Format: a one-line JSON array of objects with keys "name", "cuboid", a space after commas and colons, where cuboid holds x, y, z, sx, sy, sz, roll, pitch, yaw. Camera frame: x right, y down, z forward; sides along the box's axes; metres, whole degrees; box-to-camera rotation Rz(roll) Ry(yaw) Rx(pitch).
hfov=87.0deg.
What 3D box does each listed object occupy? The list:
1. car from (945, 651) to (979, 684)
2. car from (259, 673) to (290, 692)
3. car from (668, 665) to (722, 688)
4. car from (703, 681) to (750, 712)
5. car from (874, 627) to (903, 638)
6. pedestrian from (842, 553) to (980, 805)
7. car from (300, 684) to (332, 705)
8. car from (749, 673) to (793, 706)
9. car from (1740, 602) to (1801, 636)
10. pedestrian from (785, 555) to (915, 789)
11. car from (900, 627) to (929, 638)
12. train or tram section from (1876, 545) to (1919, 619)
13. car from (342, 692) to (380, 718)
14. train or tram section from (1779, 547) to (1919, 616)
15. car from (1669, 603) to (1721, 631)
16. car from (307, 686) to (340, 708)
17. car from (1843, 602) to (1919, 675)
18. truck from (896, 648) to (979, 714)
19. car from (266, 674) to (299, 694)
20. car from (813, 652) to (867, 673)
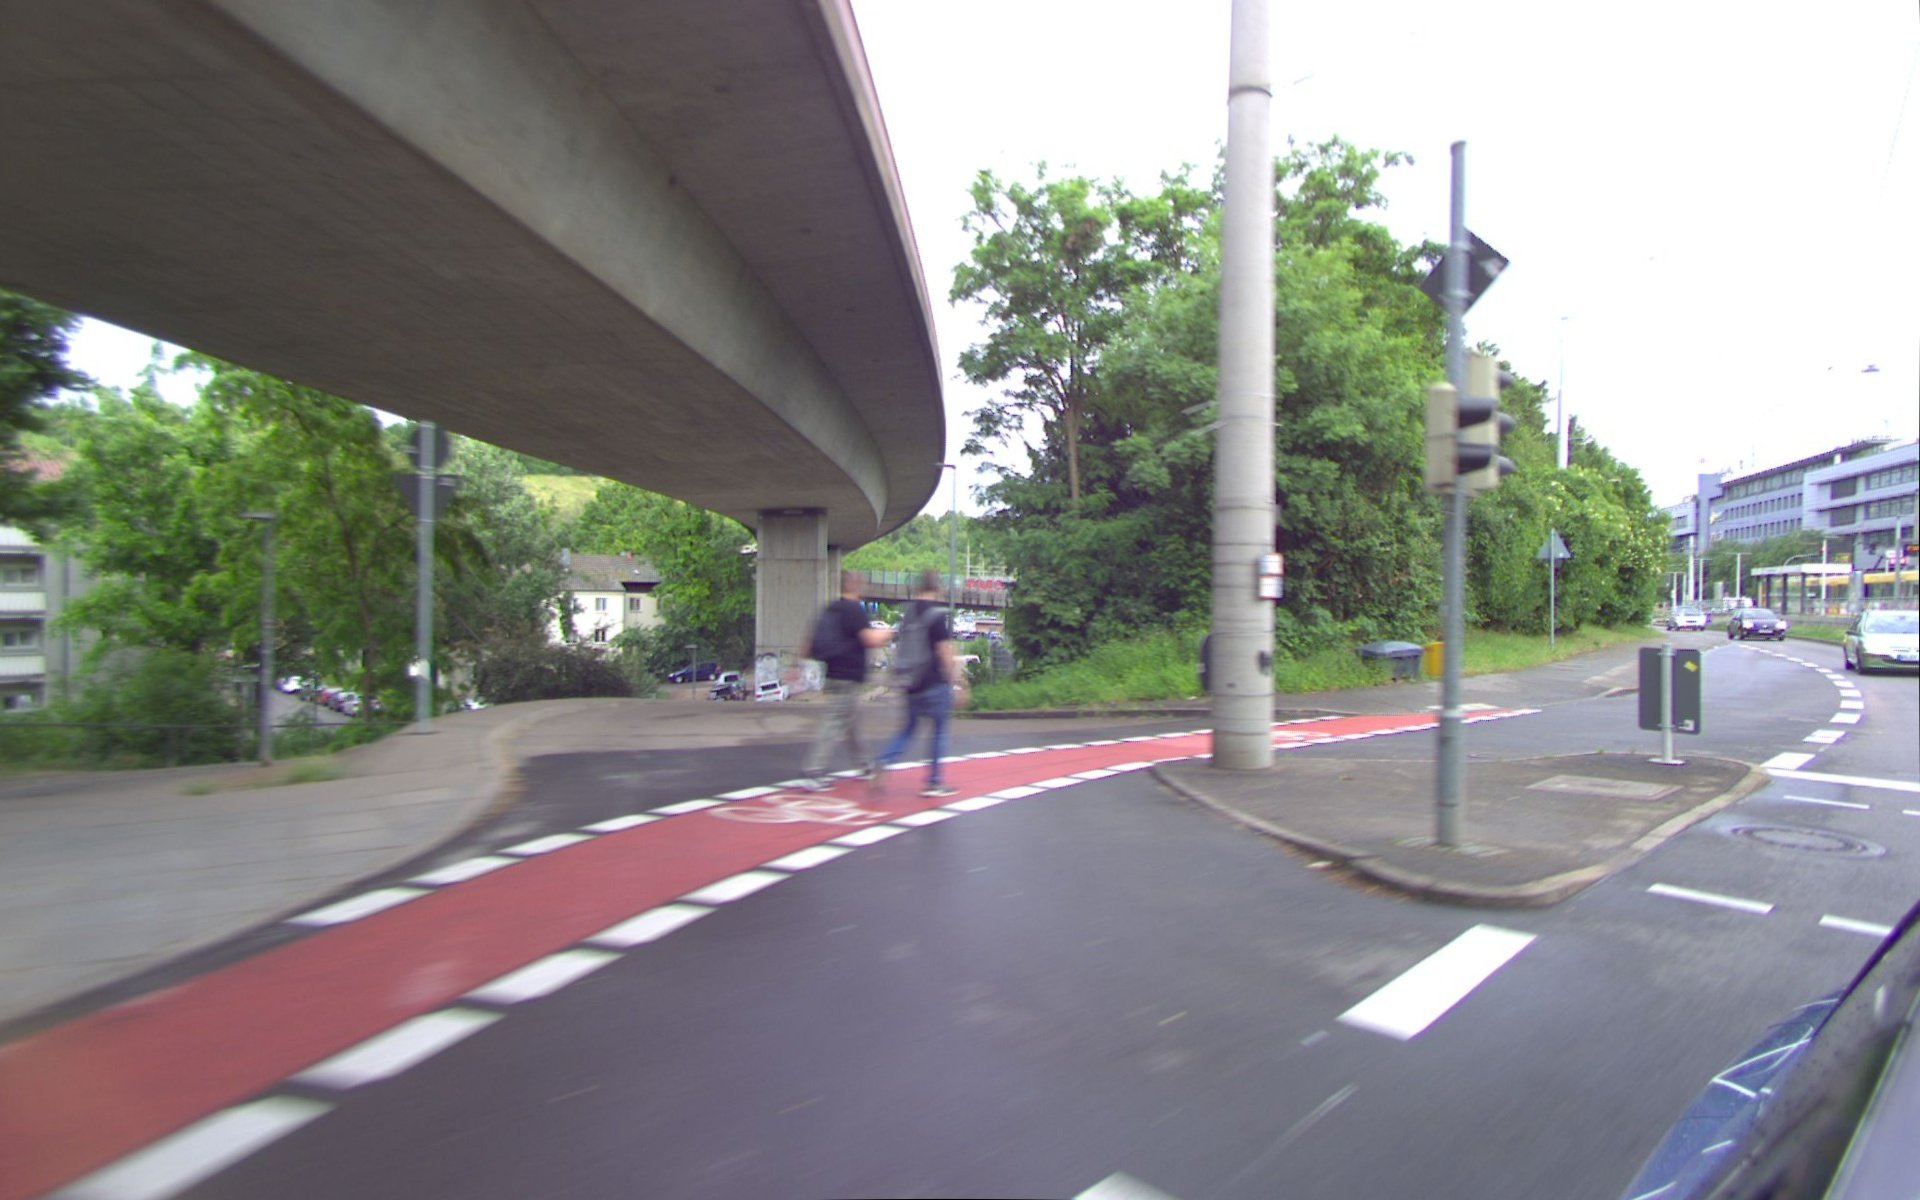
[{"name": "car", "cuboid": [0.079, 4.473, 67.330, 1.918, 1.880, 3.895, 0, 0, -5]}, {"name": "car", "cuboid": [-63.927, 7.638, 94.298, 1.857, 1.469, 4.148, 0, -1, -42]}, {"name": "car", "cuboid": [-20.405, 5.887, 78.027, 3.916, 1.482, 1.776, 0, 0, -13]}, {"name": "car", "cuboid": [-14.235, 5.857, 61.862, 1.961, 1.469, 4.290, 0, 0, -1]}, {"name": "car", "cuboid": [-10.189, 4.666, 144.803, 3.712, 1.512, 1.766, 0, 0, 19]}, {"name": "pedestrian", "cuboid": [-0.374, 0.570, 7.867, 0.625, 1.831, 0.823, -3, -1, 42]}, {"name": "car", "cuboid": [-52.938, 7.743, 83.167, 1.709, 1.431, 3.553, 0, -1, -40]}, {"name": "car", "cuboid": [-11.461, 5.426, 61.613, 1.961, 1.629, 4.290, 0, 0, -1]}, {"name": "car", "cuboid": [38.233, 0.855, 47.813, 1.768, 1.520, 3.954, 0, 0, 32]}, {"name": "pedestrian", "cuboid": [-0.914, 0.566, 8.515, 0.595, 1.845, 0.898, -2, -1, 36]}, {"name": "car", "cuboid": [-6.395, 4.527, 142.364, 3.712, 1.512, 1.766, 0, 0, 19]}, {"name": "train or tram section", "cuboid": [51.652, -0.969, 51.201, 2.849, 4.004, 19.147, -2, 0, 27]}, {"name": "car", "cuboid": [-41.627, 7.303, 70.347, 1.709, 1.431, 3.553, 0, -1, -40]}, {"name": "train or tram section", "cuboid": [60.093, -1.174, 68.292, 2.847, 4.023, 19.163, -2, 0, 25]}, {"name": "car", "cuboid": [45.698, 1.060, 63.019, 1.981, 1.592, 3.962, -2, 0, 27]}, {"name": "car", "cuboid": [-50.247, 7.636, 79.878, 1.709, 1.431, 3.553, 0, -1, -40]}, {"name": "car", "cuboid": [22.472, 0.871, 23.929, 1.768, 1.520, 3.955, 2, 2, 32]}, {"name": "truck", "cuboid": [-0.737, 2.986, 38.563, 2.659, 2.039, 5.757, 0, 0, 4]}, {"name": "car", "cuboid": [-60.613, 7.511, 90.509, 1.857, 1.469, 4.148, 0, -1, -42]}, {"name": "car", "cuboid": [-9.124, 4.740, 77.218, 3.923, 1.482, 1.773, 0, 0, -1]}]
